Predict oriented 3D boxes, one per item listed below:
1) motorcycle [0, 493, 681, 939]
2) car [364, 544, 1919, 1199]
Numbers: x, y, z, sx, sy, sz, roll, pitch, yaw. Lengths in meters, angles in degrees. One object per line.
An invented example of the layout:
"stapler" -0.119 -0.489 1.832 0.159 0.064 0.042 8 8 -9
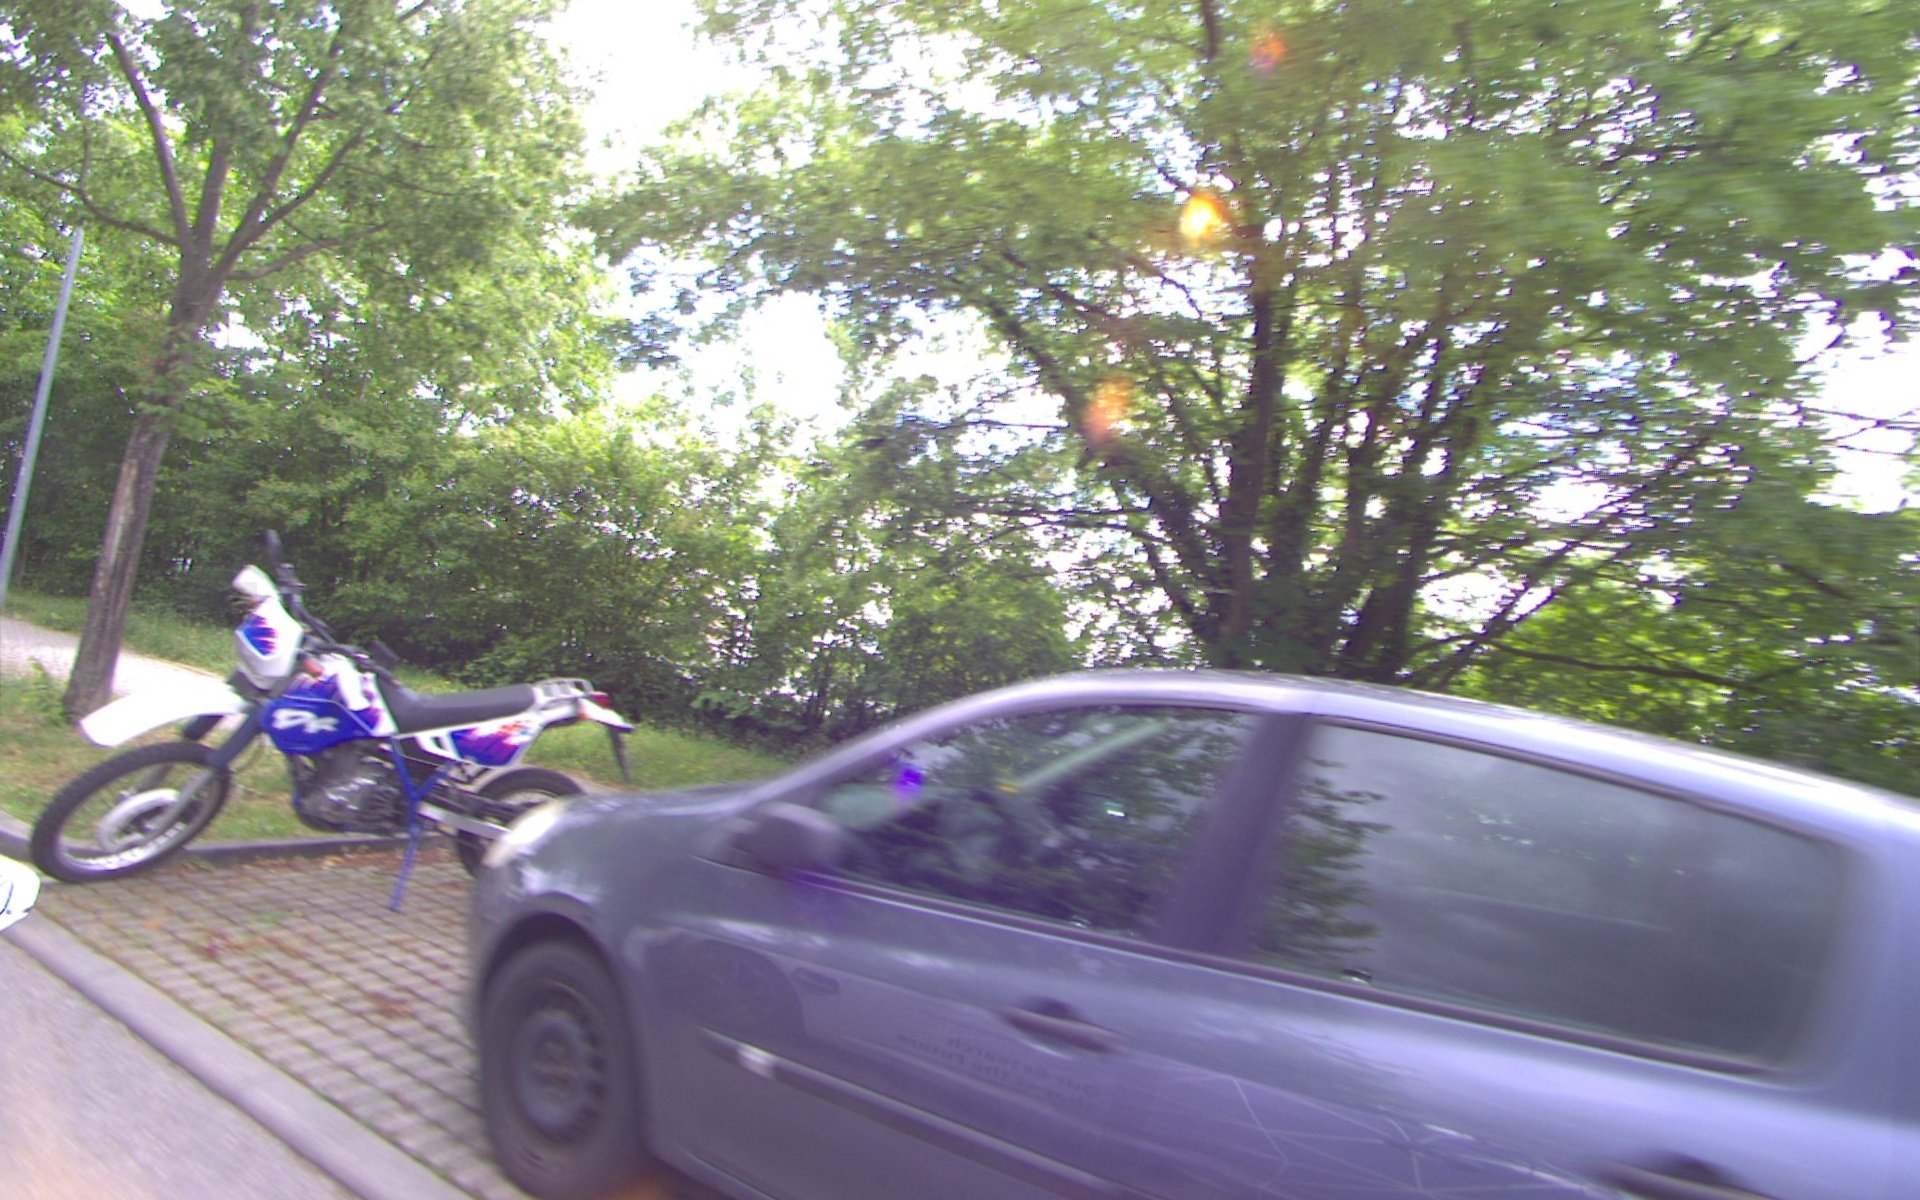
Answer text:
"motorcycle" -2.579 0.526 4.378 2.292 1.492 0.966 9 -2 -34
"car" 0.581 0.887 2.499 4.041 1.533 1.774 6 -4 33
